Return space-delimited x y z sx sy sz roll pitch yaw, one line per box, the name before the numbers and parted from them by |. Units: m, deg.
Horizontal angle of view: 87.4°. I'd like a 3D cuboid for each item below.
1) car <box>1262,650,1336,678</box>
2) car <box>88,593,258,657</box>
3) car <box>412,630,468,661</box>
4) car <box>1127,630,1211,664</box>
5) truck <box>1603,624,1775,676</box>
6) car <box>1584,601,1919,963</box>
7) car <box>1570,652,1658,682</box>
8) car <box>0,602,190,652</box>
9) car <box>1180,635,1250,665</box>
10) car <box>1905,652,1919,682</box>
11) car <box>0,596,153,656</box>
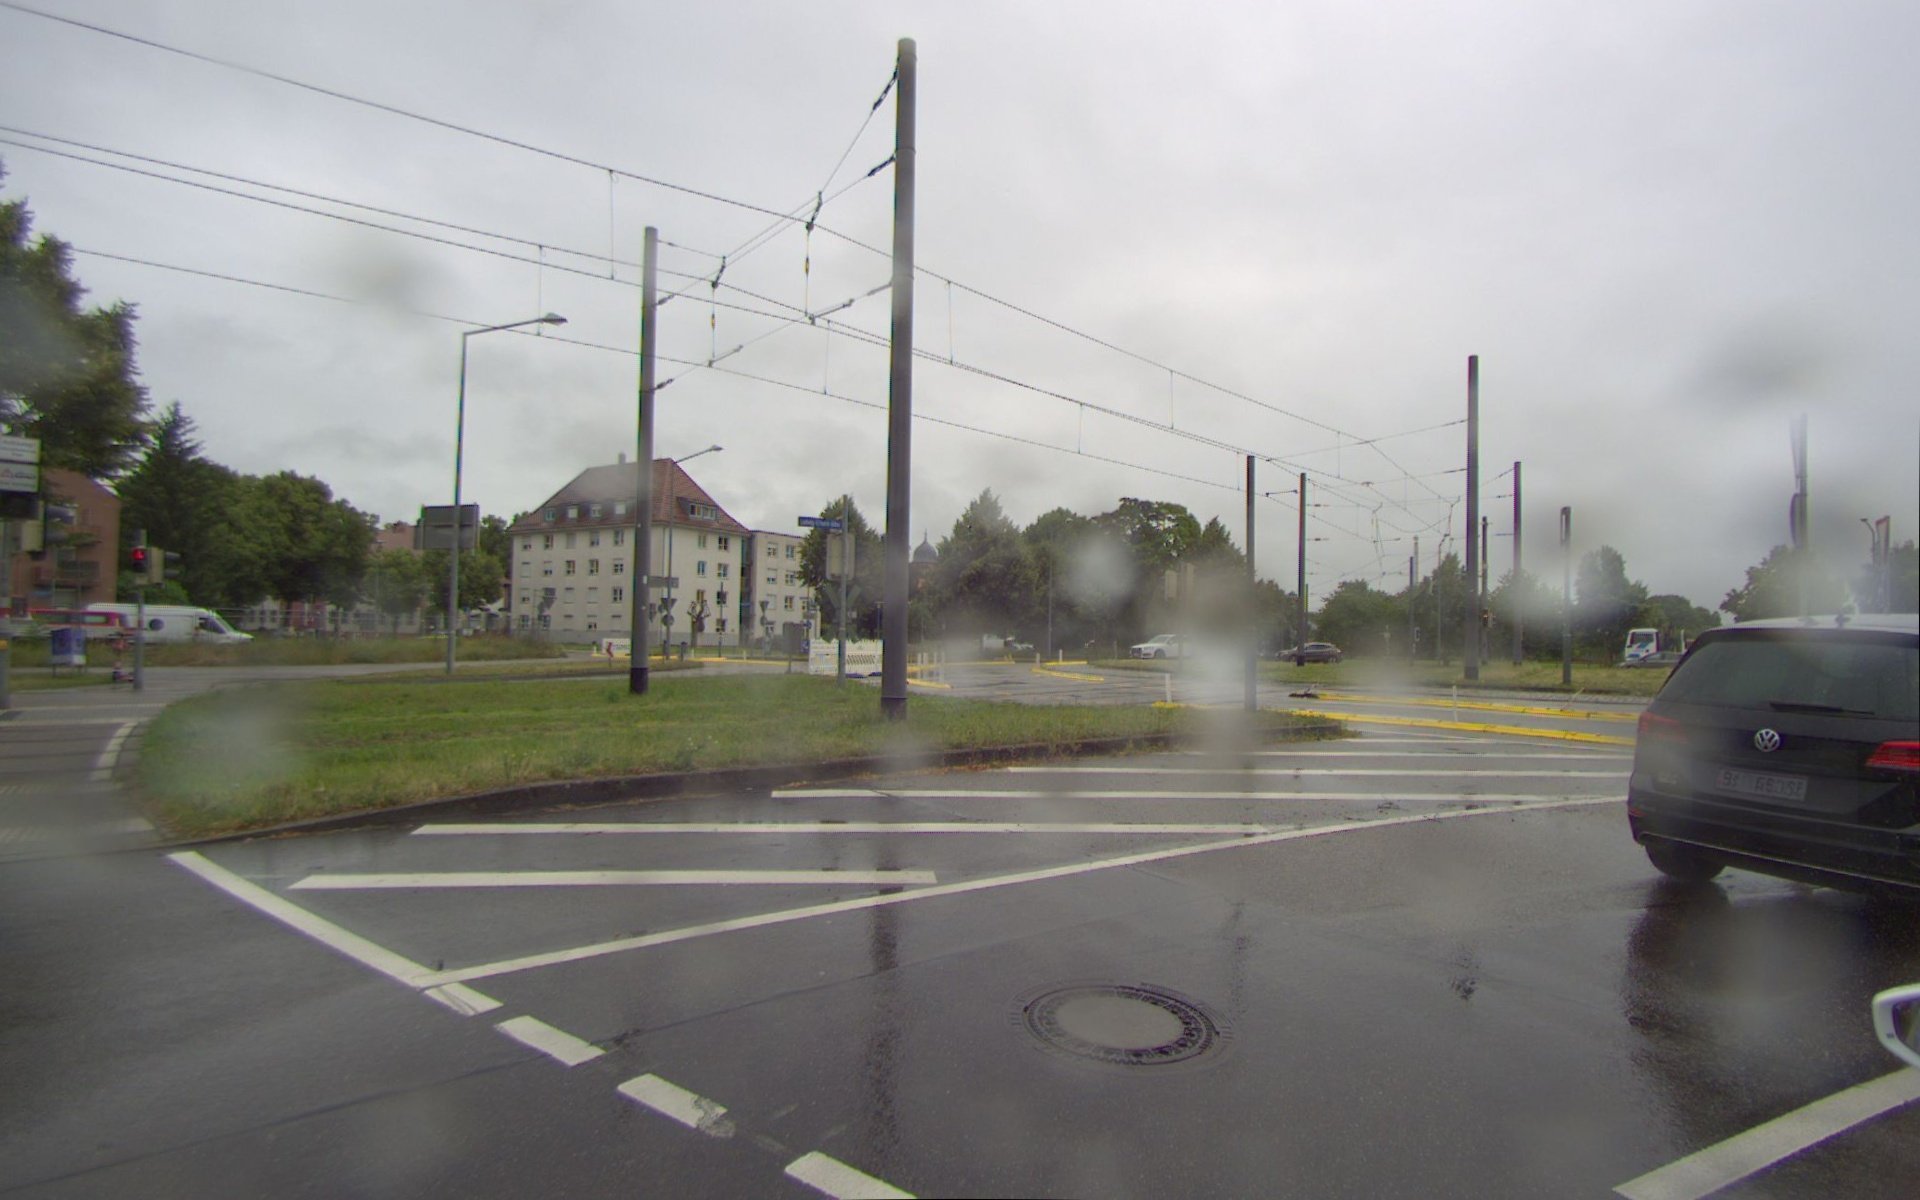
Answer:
car | 22.519 4.232 66.840 4.457 1.511 1.613 3 0 11
car | -39.986 1.282 51.306 6.345 2.978 2.341 3 0 -27
car | -44.273 3.870 85.491 4.758 2.357 1.995 2 0 33
car | 12.232 2.755 58.719 4.807 1.767 1.764 3 -1 -29
truck | 46.175 3.109 63.875 8.663 2.747 1.991 2 0 40
car | 5.828 0.888 5.775 4.275 1.537 1.777 3 -1 -26
car | 40.776 4.178 62.671 4.477 1.511 1.605 2 -1 38
car | -38.230 1.217 44.294 6.345 2.040 2.341 2 -2 -27
car | 16.761 3.274 66.005 4.101 1.746 1.827 3 0 -18
car | 56.206 3.884 56.727 3.938 1.669 1.781 2 -1 39
car | -35.028 0.956 38.181 6.345 2.040 2.341 3 -1 -27
